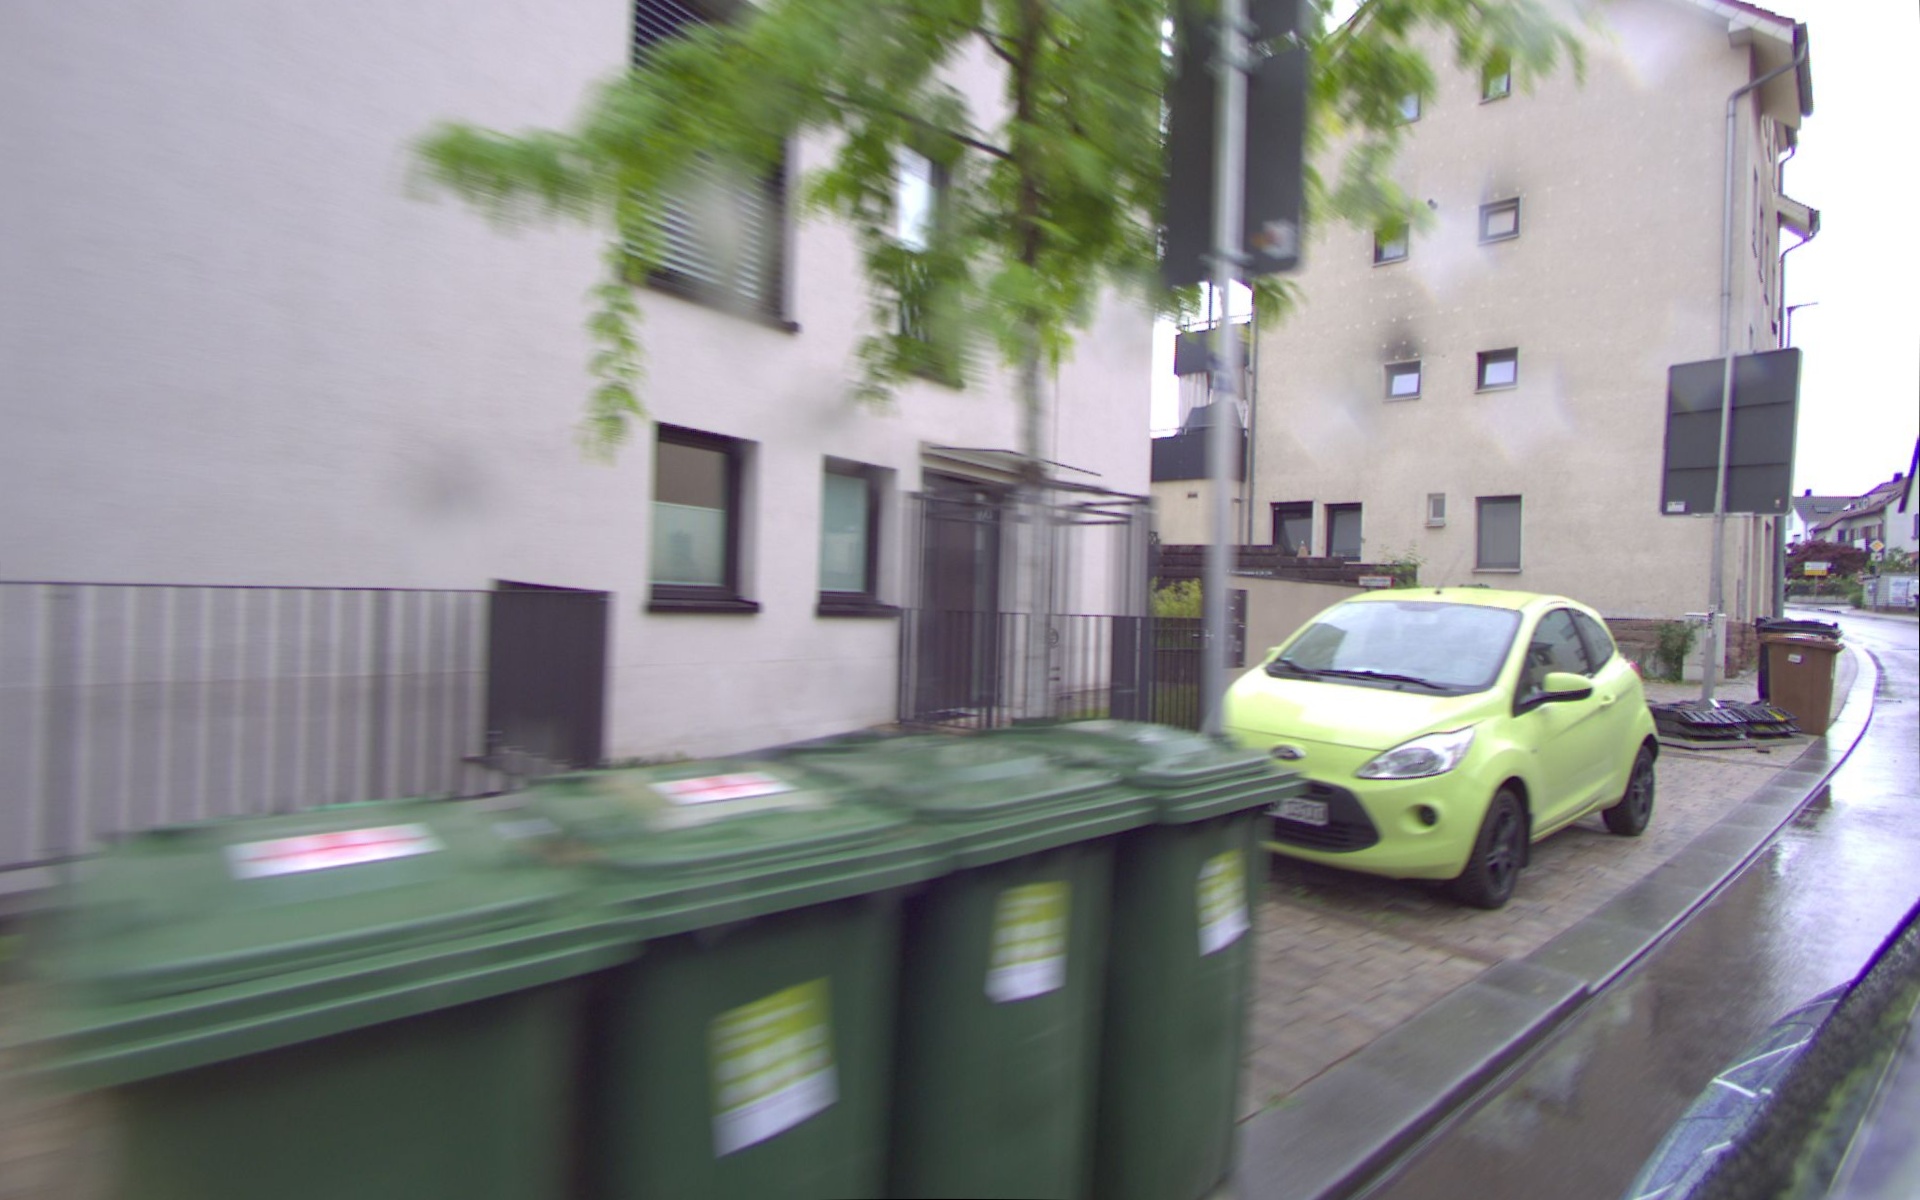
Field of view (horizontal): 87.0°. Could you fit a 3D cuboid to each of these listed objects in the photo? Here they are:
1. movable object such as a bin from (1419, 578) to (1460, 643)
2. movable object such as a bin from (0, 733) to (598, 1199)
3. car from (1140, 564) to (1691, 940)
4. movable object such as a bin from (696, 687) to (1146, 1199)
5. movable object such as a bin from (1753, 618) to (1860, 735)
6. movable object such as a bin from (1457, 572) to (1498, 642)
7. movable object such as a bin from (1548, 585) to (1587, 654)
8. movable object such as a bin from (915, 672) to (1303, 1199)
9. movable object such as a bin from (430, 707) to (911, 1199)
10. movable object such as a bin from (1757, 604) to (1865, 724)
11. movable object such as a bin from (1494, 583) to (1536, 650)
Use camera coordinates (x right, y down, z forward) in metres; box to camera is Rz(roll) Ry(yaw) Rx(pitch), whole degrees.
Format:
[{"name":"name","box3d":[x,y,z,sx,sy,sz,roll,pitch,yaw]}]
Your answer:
[{"name":"movable object such as a bin","box3d":[8.874,0.180,18.708,0.580,1.122,0.714,4,4,30]},{"name":"movable object such as a bin","box3d":[-0.905,0.796,1.306,0.591,1.101,0.710,0,1,-42]},{"name":"car","box3d":[2.839,0.573,5.982,3.572,1.544,1.641,-1,3,-41]},{"name":"movable object such as a bin","box3d":[-0.096,0.780,2.069,0.591,1.101,0.710,0,1,-42]},{"name":"movable object such as a bin","box3d":[9.277,0.808,11.089,0.796,1.122,0.761,-1,5,-44]},{"name":"movable object such as a bin","box3d":[9.426,0.111,18.433,0.580,1.199,0.714,4,4,30]},{"name":"movable object such as a bin","box3d":[10.636,0.329,17.735,0.506,1.122,0.714,4,4,30]},{"name":"movable object such as a bin","box3d":[0.351,0.771,2.472,0.591,1.101,0.710,0,1,-42]},{"name":"movable object such as a bin","box3d":[-0.508,0.787,1.691,0.507,1.101,0.703,0,1,-42]},{"name":"movable object such as a bin","box3d":[10.159,0.721,12.074,1.223,1.263,0.796,-1,5,-44]},{"name":"movable object such as a bin","box3d":[9.957,0.274,18.147,0.580,1.122,0.714,4,4,30]}]
